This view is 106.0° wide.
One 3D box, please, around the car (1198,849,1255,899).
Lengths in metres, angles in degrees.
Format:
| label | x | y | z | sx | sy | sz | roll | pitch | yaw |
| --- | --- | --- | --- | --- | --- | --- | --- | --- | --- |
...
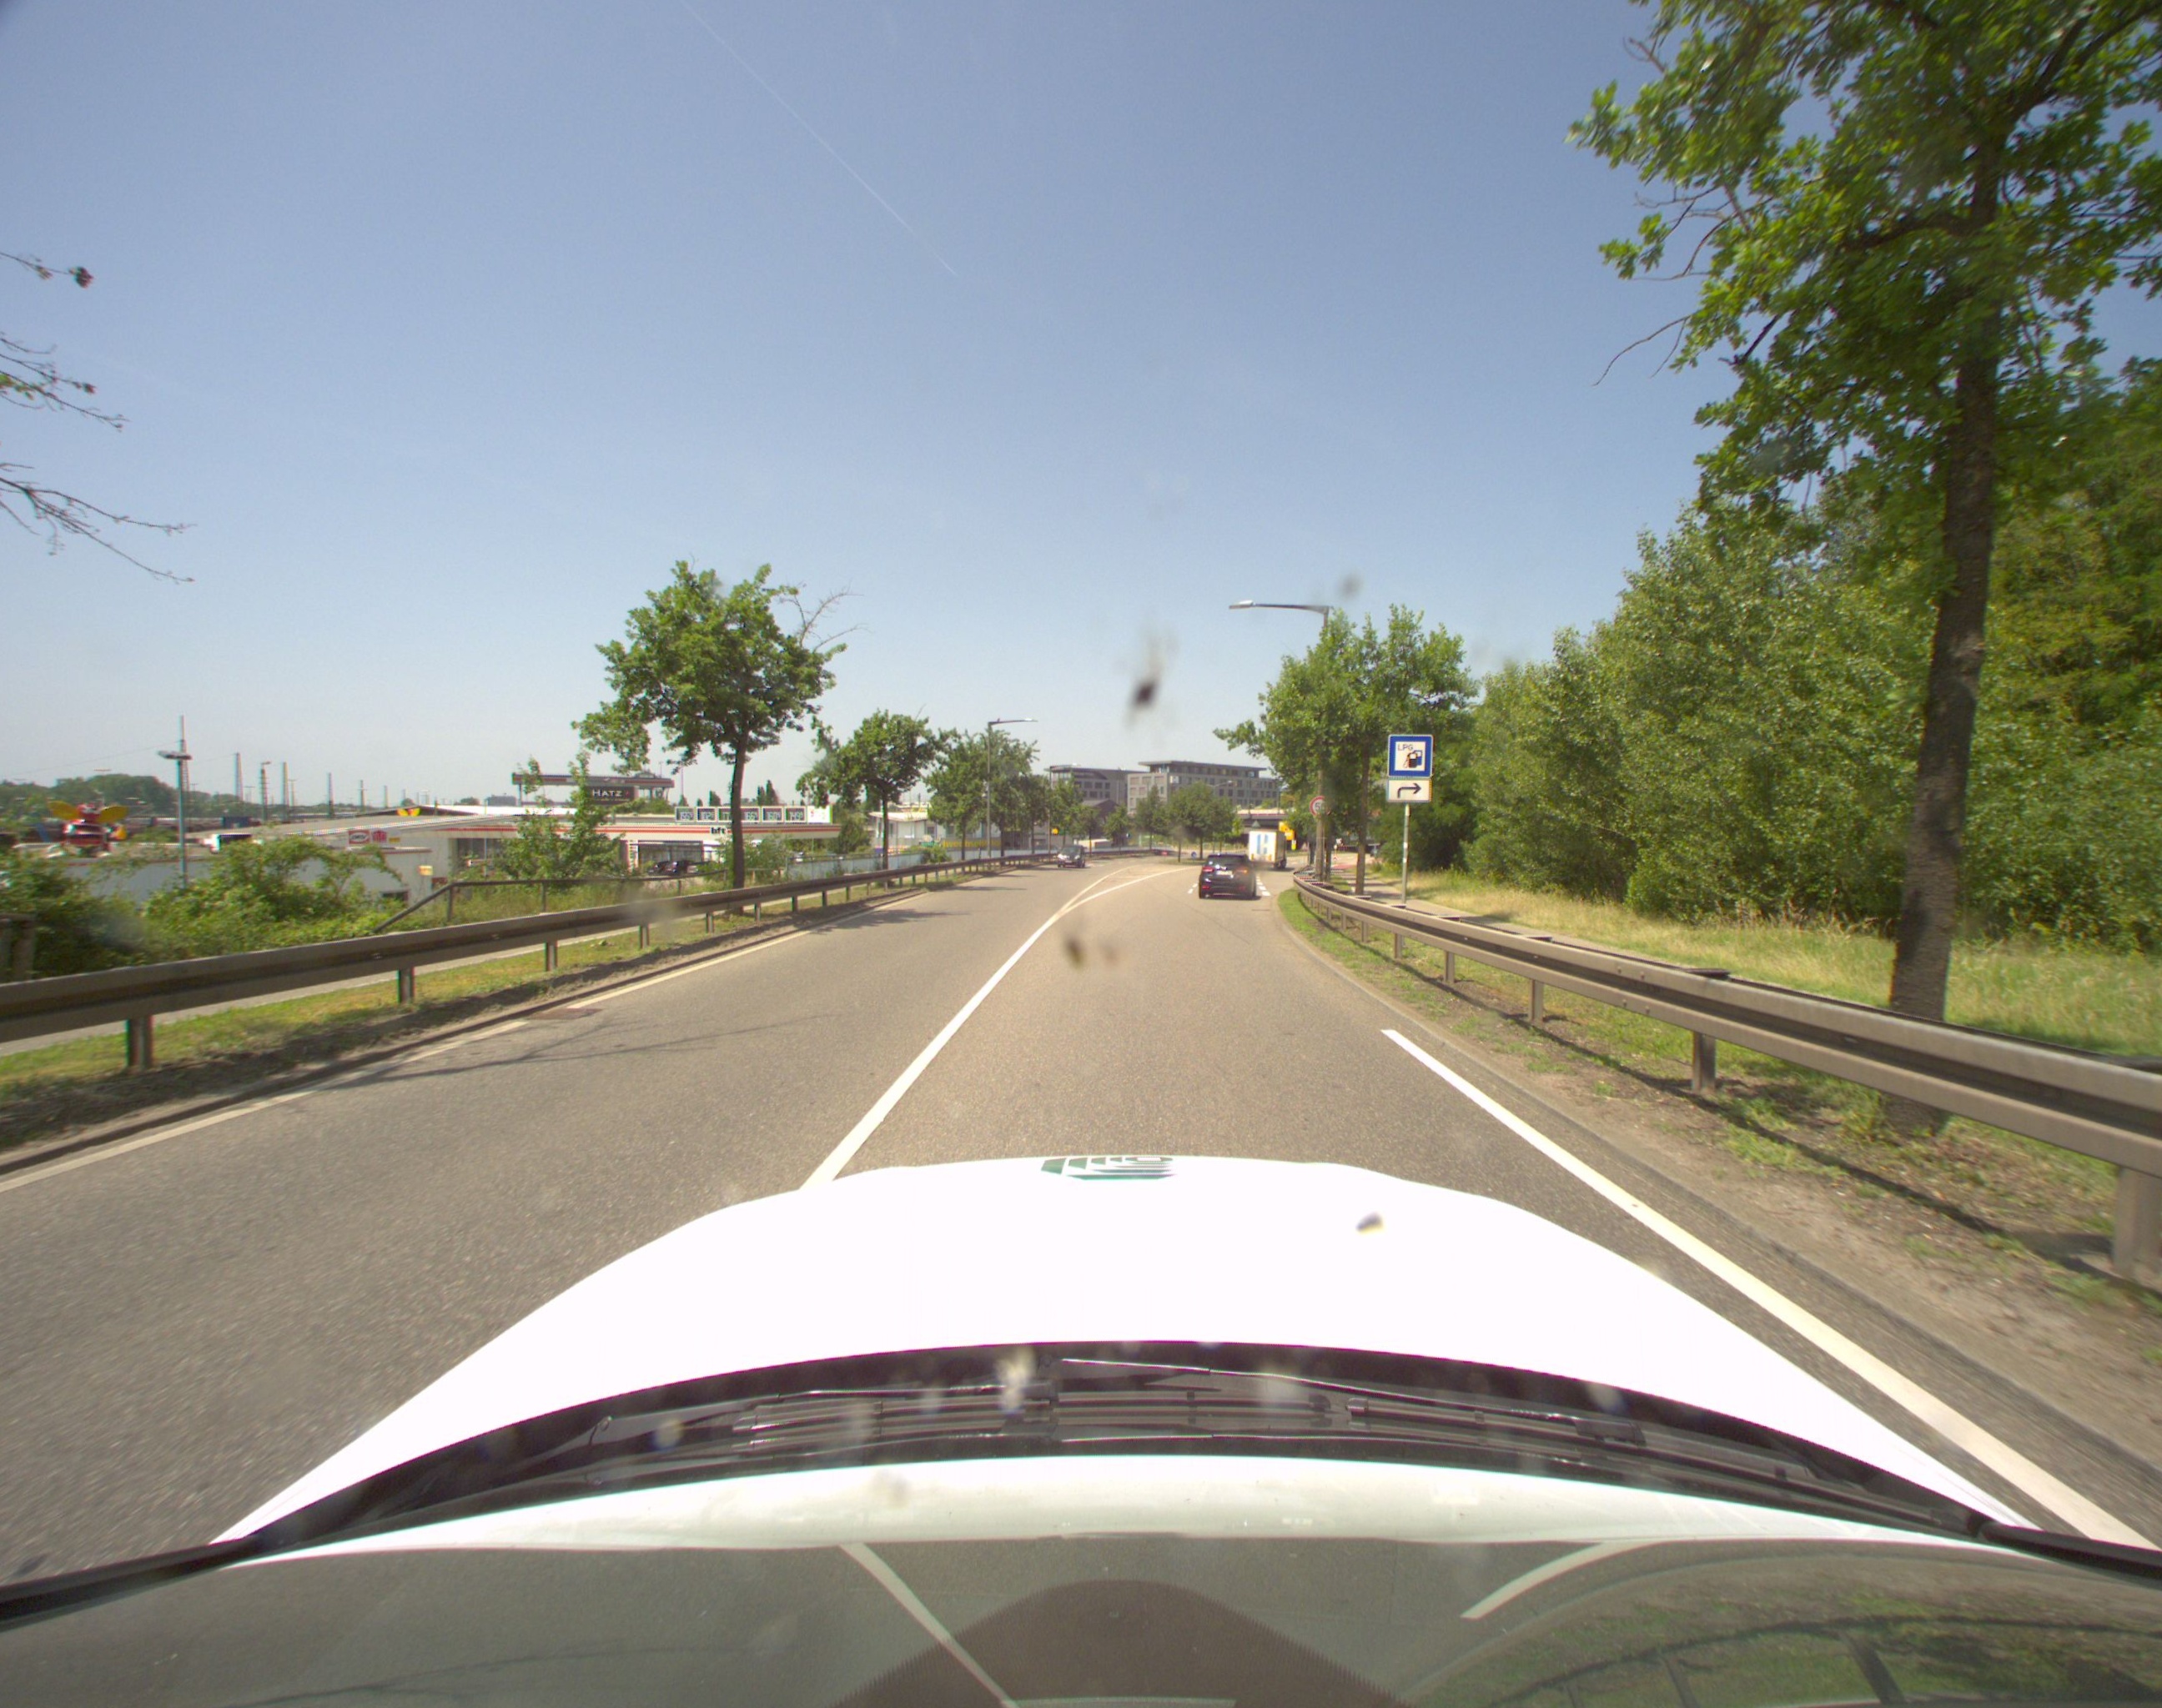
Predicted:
| label | x | y | z | sx | sy | sz | roll | pitch | yaw |
| --- | --- | --- | --- | --- | --- | --- | --- | --- | --- |
| car | 5.175 | 0.638 | 28.605 | 1.755 | 1.599 | 4.091 | 1 | 1 | 12 |

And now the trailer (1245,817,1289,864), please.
| label | x | y | z | sx | sy | sz | roll | pitch | yaw |
| --- | --- | --- | --- | --- | --- | --- | --- | --- | --- |
| trailer | 19.429 | -1.512 | 84.324 | 3.054 | 4.367 | 14.845 | 1 | 2 | 18 |

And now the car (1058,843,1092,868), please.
| label | x | y | z | sx | sy | sz | roll | pitch | yaw |
| --- | --- | --- | --- | --- | --- | --- | --- | --- | --- |
| car | -0.418 | 0.102 | 61.991 | 1.796 | 1.759 | 4.265 | 1 | 0 | 11 |

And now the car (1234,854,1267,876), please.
| label | x | y | z | sx | sy | sz | roll | pitch | yaw |
| --- | --- | --- | --- | --- | --- | --- | --- | --- | --- |
| car | 13.538 | 0.826 | 64.840 | 1.940 | 1.633 | 4.301 | 0 | 0 | 20 |

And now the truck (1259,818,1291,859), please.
| label | x | y | z | sx | sy | sz | roll | pitch | yaw |
| --- | --- | --- | --- | --- | --- | --- | --- | --- | --- |
| truck | 21.991 | -1.796 | 92.029 | 3.051 | 4.367 | 6.108 | 1 | 2 | 18 |
